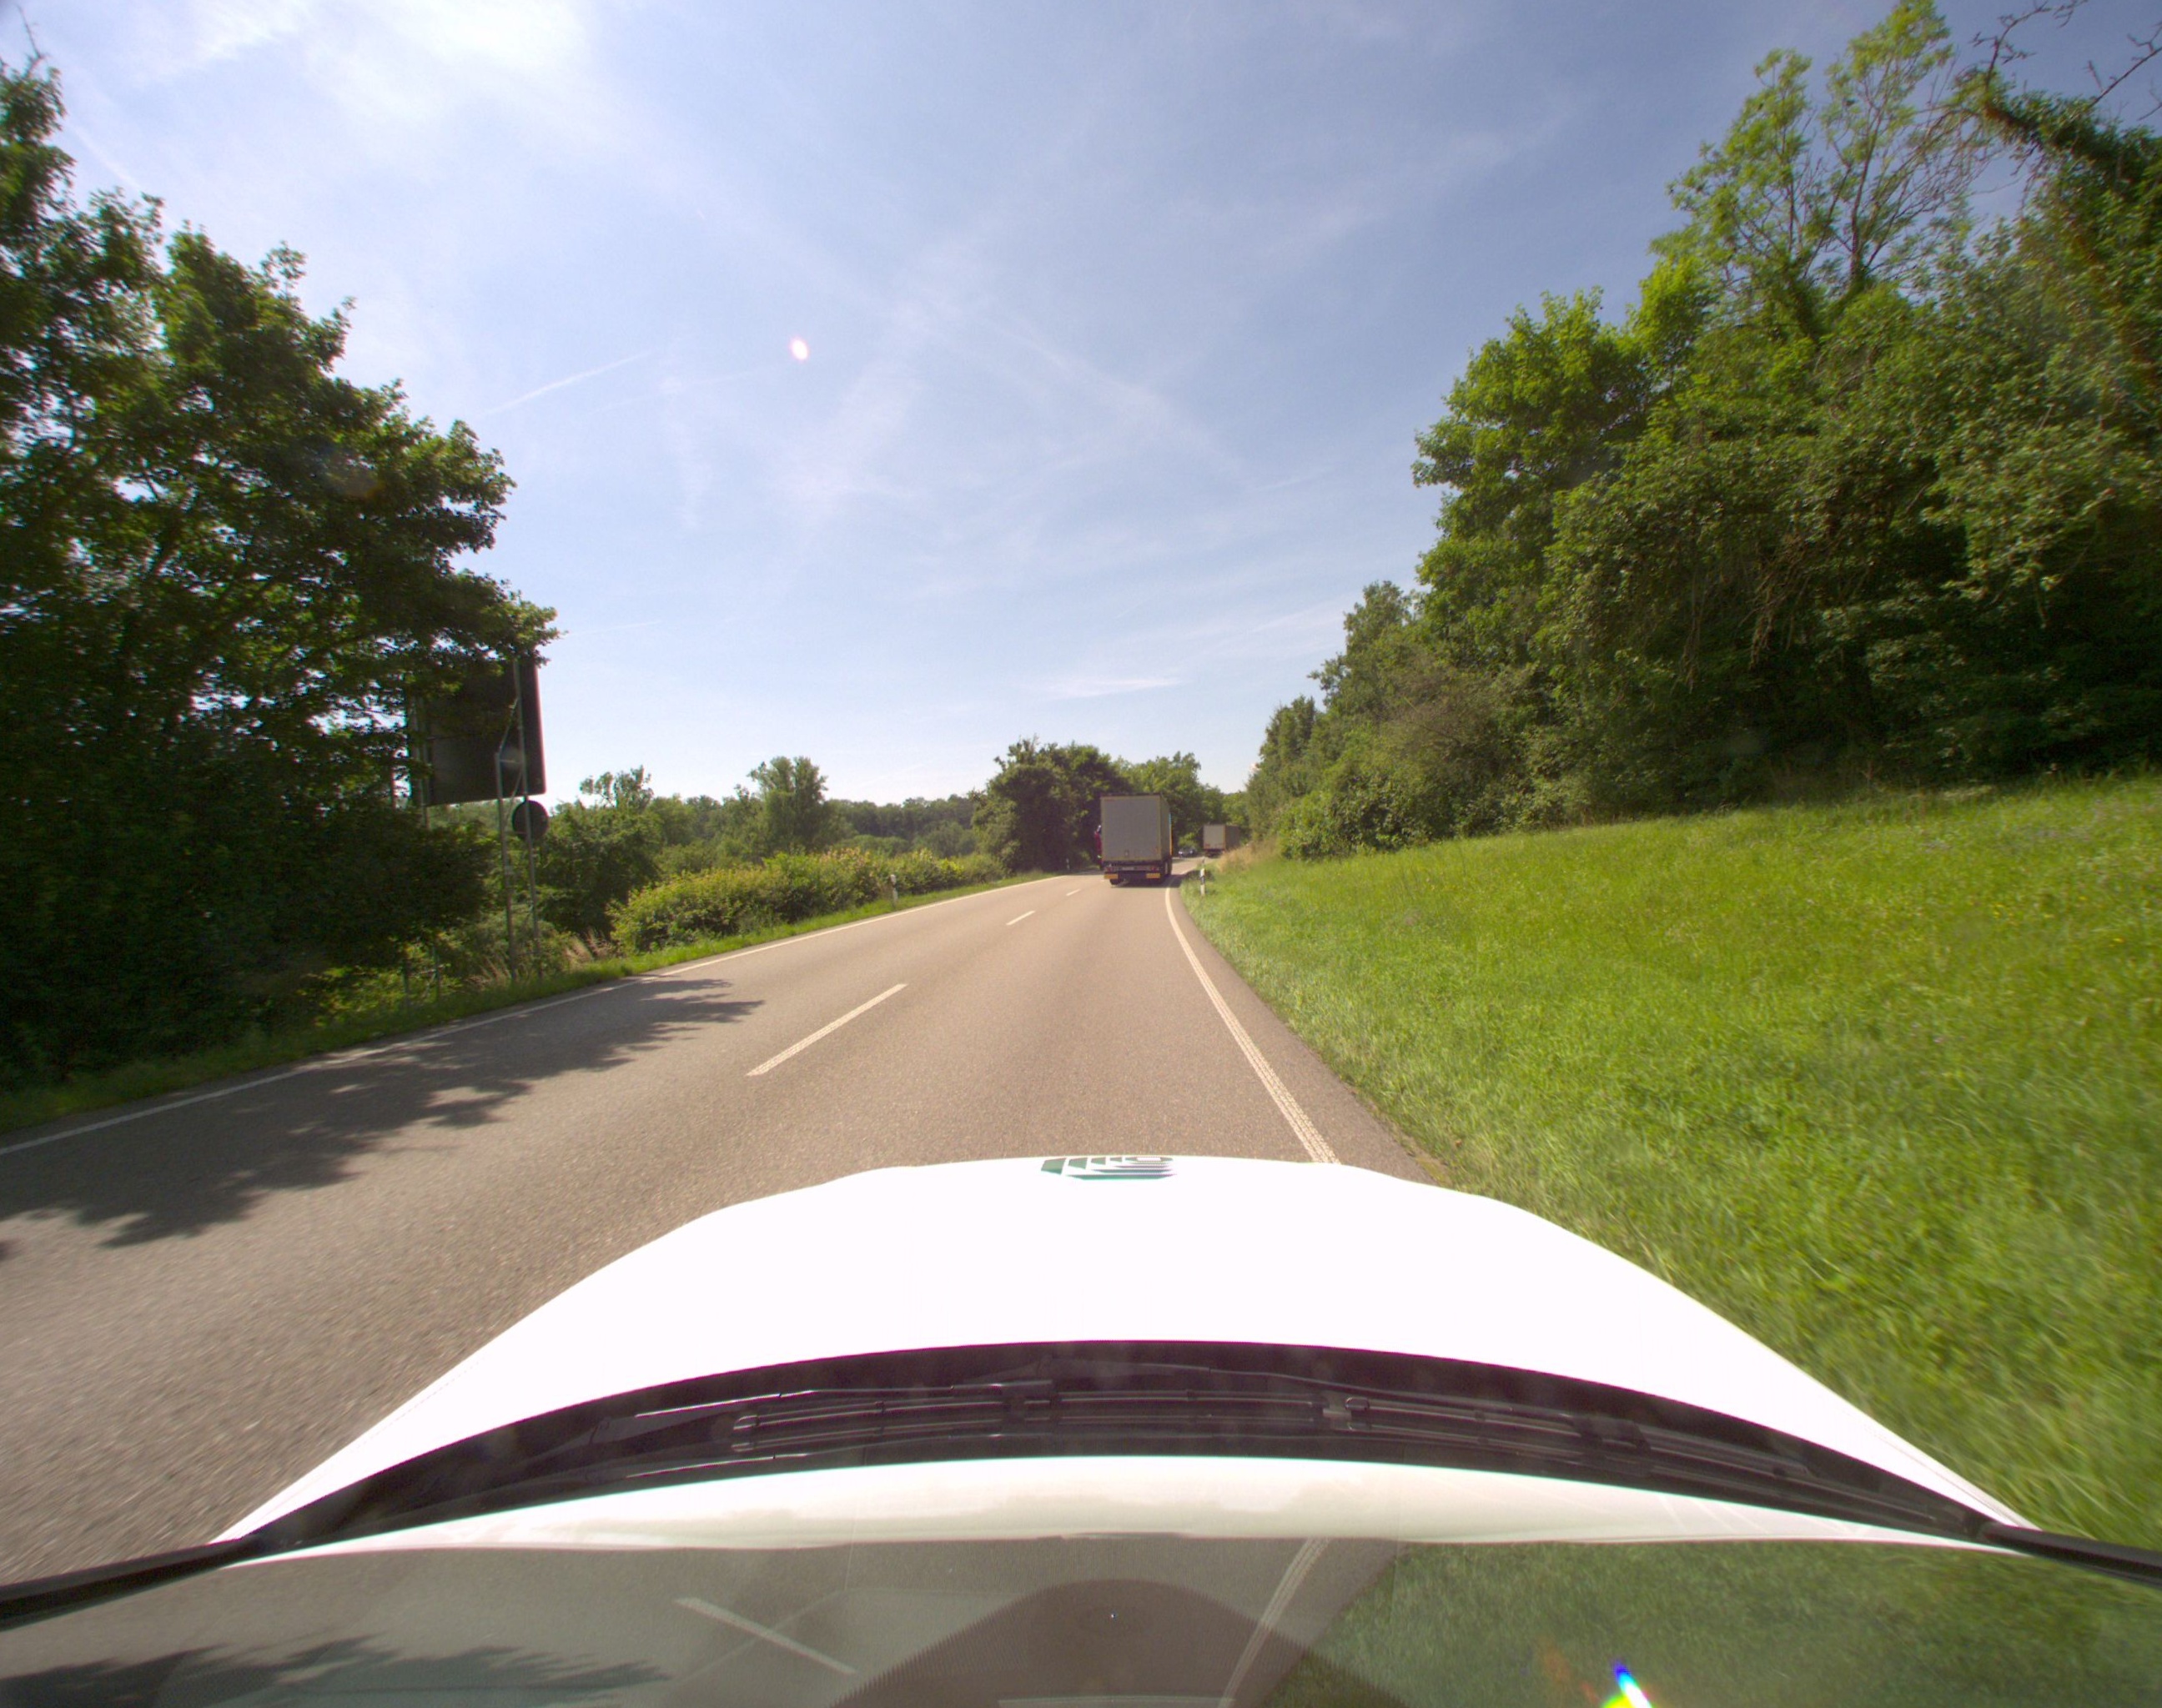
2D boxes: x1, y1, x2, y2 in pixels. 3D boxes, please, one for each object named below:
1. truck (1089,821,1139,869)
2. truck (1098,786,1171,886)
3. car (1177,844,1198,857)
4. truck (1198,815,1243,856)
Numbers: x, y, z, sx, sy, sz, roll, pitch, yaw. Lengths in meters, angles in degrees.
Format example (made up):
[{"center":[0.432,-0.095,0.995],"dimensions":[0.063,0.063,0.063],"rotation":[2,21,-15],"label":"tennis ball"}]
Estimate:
[{"center":[2.899,-0.693,66.526],"dimensions":[2.537,3.452,12.666],"rotation":[-2,0,9],"label":"truck"},{"center":[3.075,-0.782,41.668],"dimensions":[2.787,4.068,15.355],"rotation":[-2,0,7],"label":"truck"},{"center":[13.289,-0.478,101.157],"dimensions":[1.696,1.471,4.396],"rotation":[-2,0,19],"label":"car"},{"center":[17.721,-2.396,102.307],"dimensions":[3.080,4.705,16.667],"rotation":[-2,1,17],"label":"truck"}]
